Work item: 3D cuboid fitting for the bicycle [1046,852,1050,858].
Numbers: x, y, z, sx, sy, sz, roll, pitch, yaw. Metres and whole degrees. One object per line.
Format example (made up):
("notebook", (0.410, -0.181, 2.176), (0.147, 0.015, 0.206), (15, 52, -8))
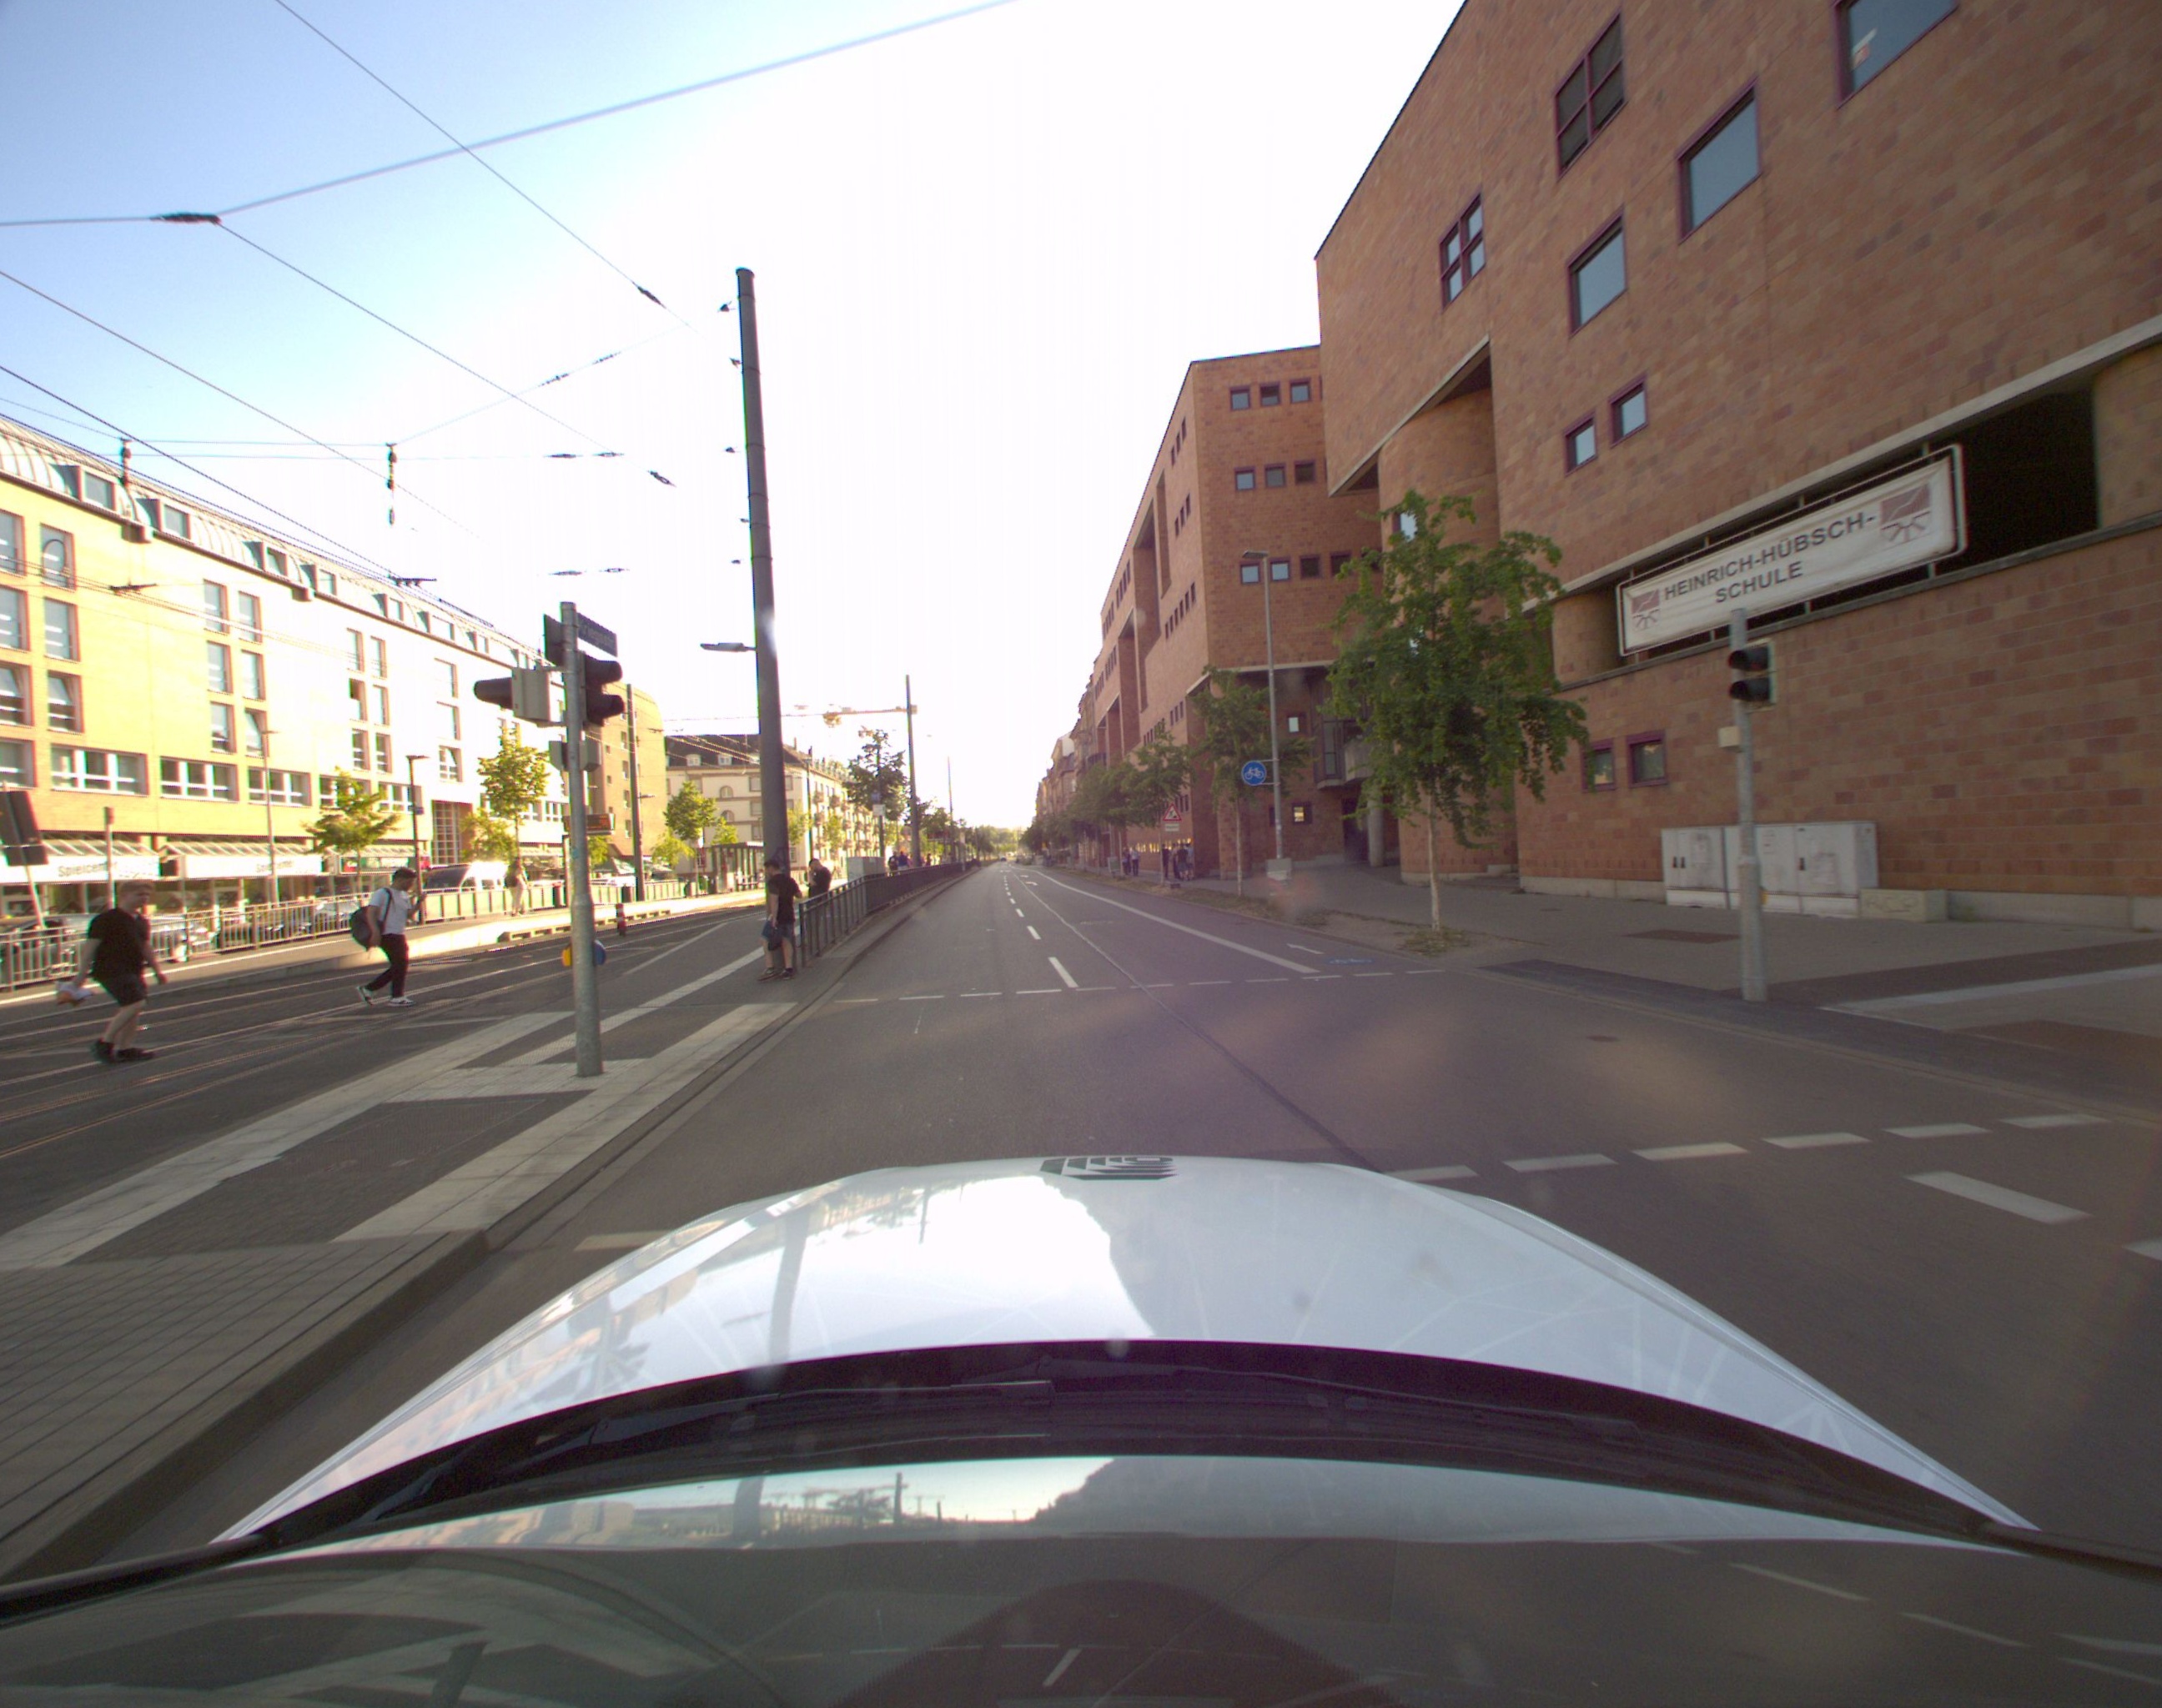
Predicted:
("bicycle", (-7.618, 0.203, 187.901), (0.660, 1.402, 2.347), (-3, 1, -6))

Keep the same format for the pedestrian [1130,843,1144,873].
("pedestrian", (3.211, 0.237, 46.697), (0.571, 1.713, 0.639), (-3, 0, -11))

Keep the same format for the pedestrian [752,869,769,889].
("pedestrian", (-19.917, 1.535, 50.608), (0.672, 1.189, 0.904), (-3, 0, -6))

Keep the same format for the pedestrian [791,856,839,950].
("pedestrian", (-4.526, 0.824, 13.859), (0.486, 1.538, 0.553), (-3, 0, 9))

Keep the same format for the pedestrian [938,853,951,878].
("pedestrian", (-8.821, 0.730, 52.619), (0.672, 1.562, 0.904), (-3, 0, -6))

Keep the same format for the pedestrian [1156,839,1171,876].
("pedestrian", (4.008, 0.166, 39.407), (0.536, 1.756, 0.464), (-3, 0, -7))

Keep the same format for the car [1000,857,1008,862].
("car", (-22.967, 1.591, 244.366), (1.791, 1.464, 4.002), (-3, 0, 2))

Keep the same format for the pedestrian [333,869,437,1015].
("pedestrian", (-8.793, 1.073, 10.322), (0.640, 1.717, 0.775), (-3, 0, -13))

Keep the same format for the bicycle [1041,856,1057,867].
("bicycle", (-3.885, 0.924, 98.930), (1.826, 1.064, 0.661), (-6, 1, -11))

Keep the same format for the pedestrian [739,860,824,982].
("pedestrian", (-4.026, 0.876, 10.994), (0.710, 1.538, 0.852), (-3, 0, 3))

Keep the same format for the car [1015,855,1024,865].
("car", (-13.543, 1.286, 180.814), (1.881, 1.937, 4.467), (-2, 1, -4))

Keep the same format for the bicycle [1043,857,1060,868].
("bicycle", (-3.409, 0.980, 94.735), (1.826, 1.064, 0.661), (-6, 1, -11))

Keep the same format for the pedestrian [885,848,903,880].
("pedestrian", (-9.036, 0.477, 39.304), (0.681, 1.483, 0.827), (-3, 0, -6))

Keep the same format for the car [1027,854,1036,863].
("car", (-10.028, 0.931, 164.604), (1.633, 1.485, 4.207), (-5, 1, -3))

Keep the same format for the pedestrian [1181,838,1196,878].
("pedestrian", (4.922, 0.178, 37.305), (0.534, 1.756, 0.696), (-3, 0, 5))

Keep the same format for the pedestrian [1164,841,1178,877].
("pedestrian", (4.446, 0.240, 40.192), (0.535, 1.756, 0.421), (-3, 0, -6))

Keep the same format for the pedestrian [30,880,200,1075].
("pedestrian", (-9.095, 1.126, 7.696), (0.619, 1.702, 0.751), (-3, 0, 8))

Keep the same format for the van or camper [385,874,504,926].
("van or camper", (-33.371, 2.336, 42.994), (1.990, 2.169, 5.609), (-3, 2, -4))

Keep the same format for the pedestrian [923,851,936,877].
("pedestrian", (-10.364, 0.688, 55.831), (0.719, 1.732, 0.650), (-3, 0, -6))

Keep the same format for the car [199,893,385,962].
("car", (-23.468, 2.114, 24.464), (1.884, 1.532, 3.990), (-4, 1, -7))

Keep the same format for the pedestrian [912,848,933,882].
("pedestrian", (-8.188, 0.561, 42.007), (0.887, 1.672, 1.093), (-3, 0, -7))

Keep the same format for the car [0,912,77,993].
("car", (-22.856, 2.118, 15.814), (1.884, 1.532, 3.990), (-4, 1, -7))

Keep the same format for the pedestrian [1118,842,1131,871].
("pedestrian", (2.659, 0.173, 49.818), (0.538, 1.756, 0.419), (-3, 0, -20))

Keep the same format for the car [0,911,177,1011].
("car", (-19.445, 1.985, 14.801), (1.756, 1.447, 3.990), (-4, 1, -7))

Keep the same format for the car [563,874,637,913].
("car", (-28.416, 2.291, 48.302), (1.882, 1.866, 4.311), (-3, 1, -3))

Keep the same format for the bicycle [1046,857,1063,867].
("bicycle", (-3.081, 0.932, 96.146), (1.826, 1.064, 0.661), (-6, 1, -11))

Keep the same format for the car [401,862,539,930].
("car", (-24.219, 1.568, 32.558), (2.043, 2.358, 4.909), (-3, 0, -6))

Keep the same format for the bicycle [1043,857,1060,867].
("bicycle", (-3.531, 0.932, 97.489), (1.826, 1.064, 0.661), (-6, 1, -11))

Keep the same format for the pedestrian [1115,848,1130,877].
("pedestrian", (2.357, 0.465, 46.176), (0.518, 1.605, 0.700), (-3, 0, -19))

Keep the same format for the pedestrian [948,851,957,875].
("pedestrian", (-9.196, 0.635, 58.330), (0.504, 1.678, 0.650), (-3, 0, -6))

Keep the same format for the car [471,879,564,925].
("car", (-27.853, 2.318, 40.453), (1.884, 1.866, 4.305), (-4, 1, -7))

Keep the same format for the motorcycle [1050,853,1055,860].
("motorcycle", (-5.578, 0.459, 159.771), (0.794, 1.308, 2.846), (-5, 1, -5))

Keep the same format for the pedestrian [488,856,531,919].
("pedestrian", (-15.731, 0.910, 22.436), (0.675, 1.683, 0.576), (-3, 0, -1))

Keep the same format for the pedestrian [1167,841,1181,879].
("pedestrian", (4.408, 0.270, 38.448), (0.534, 1.756, 0.696), (-3, 0, 5))

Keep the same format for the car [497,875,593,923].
("car", (-25.223, 2.048, 38.519), (1.883, 1.866, 4.308), (-4, 1, -5))

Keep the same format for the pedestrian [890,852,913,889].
("pedestrian", (-8.471, 0.761, 38.499), (0.887, 1.672, 0.670), (-3, 0, -7))

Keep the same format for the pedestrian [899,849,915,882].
("pedestrian", (-8.996, 0.605, 42.104), (0.656, 1.672, 0.670), (-3, 0, -7))

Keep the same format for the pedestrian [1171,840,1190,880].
("pedestrian", (4.497, 0.249, 36.619), (0.728, 1.756, 0.697), (-3, 0, 8))
